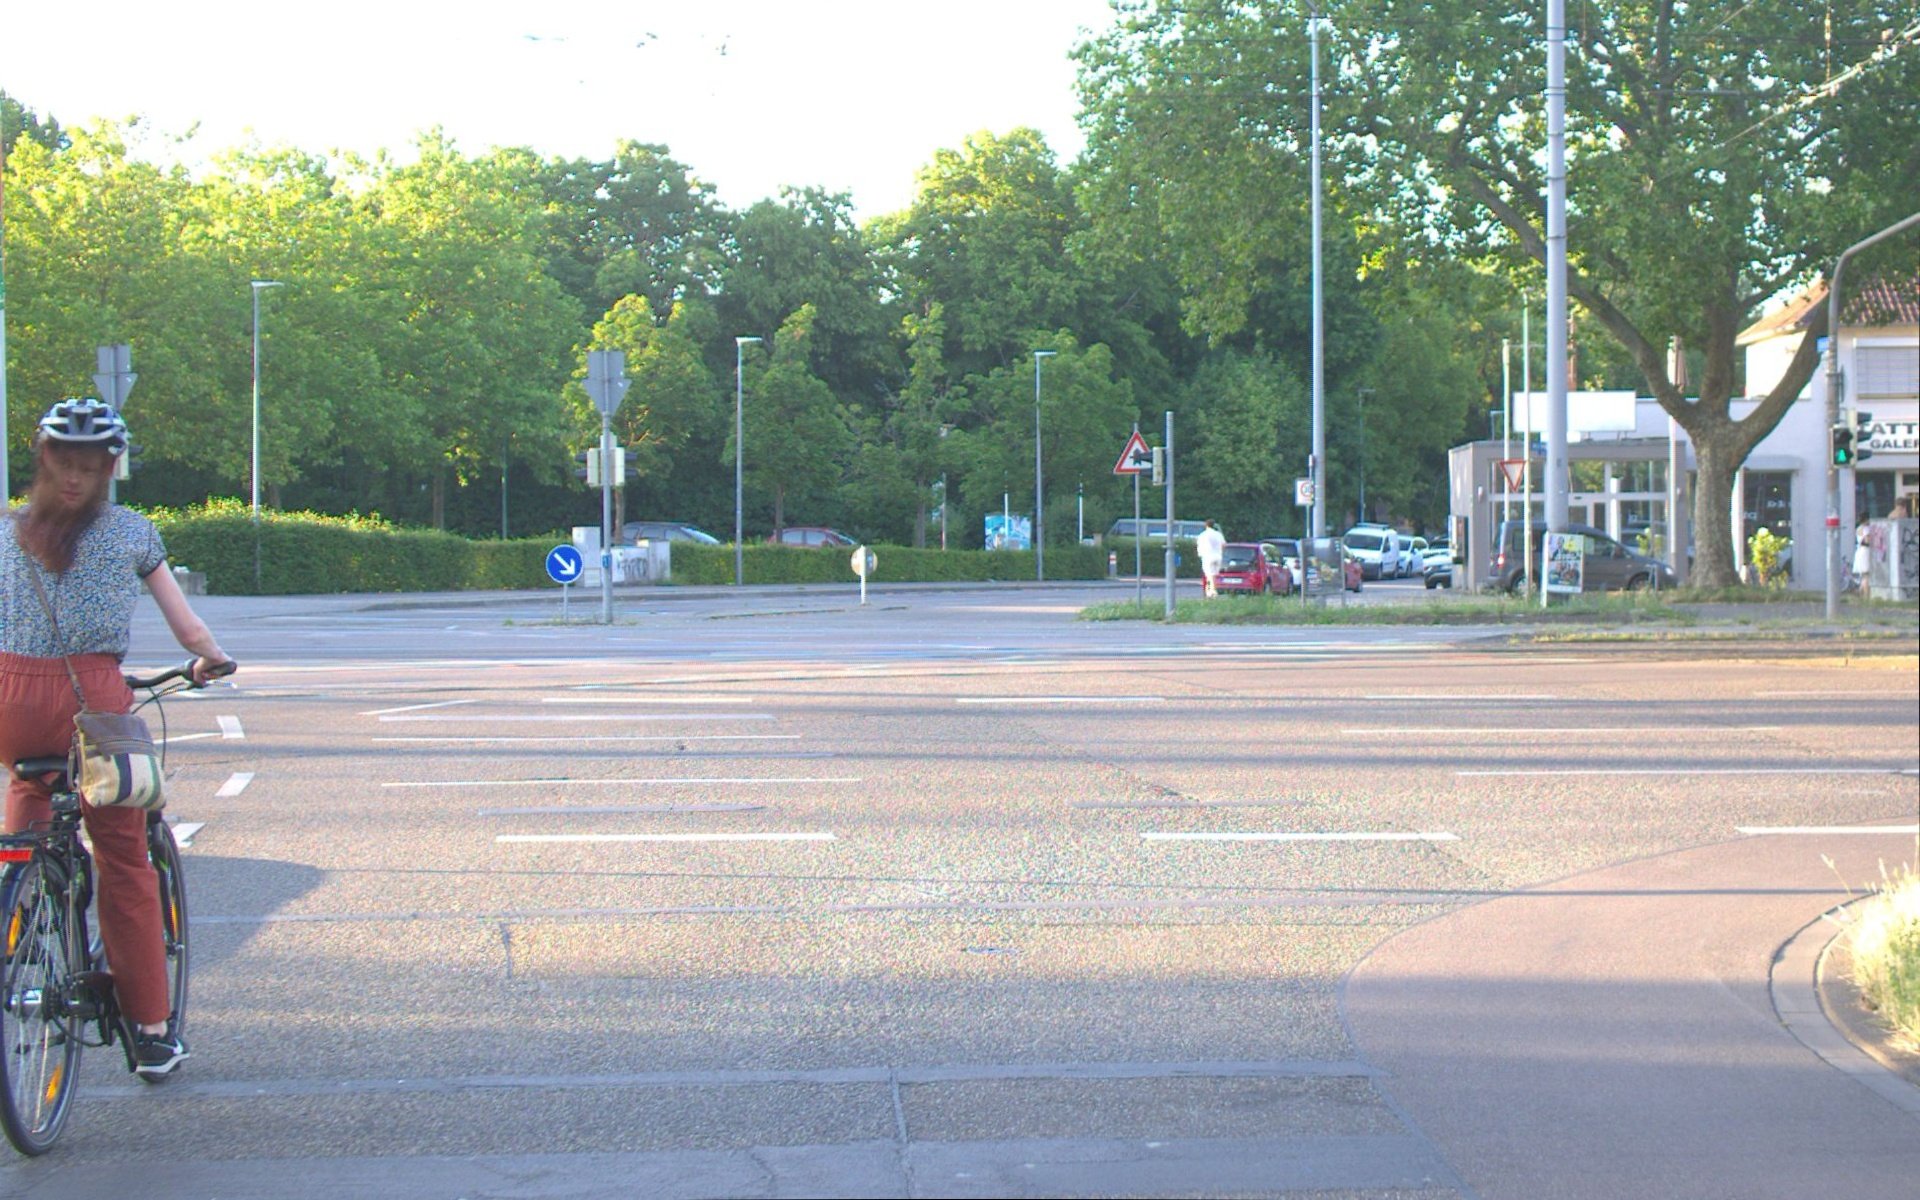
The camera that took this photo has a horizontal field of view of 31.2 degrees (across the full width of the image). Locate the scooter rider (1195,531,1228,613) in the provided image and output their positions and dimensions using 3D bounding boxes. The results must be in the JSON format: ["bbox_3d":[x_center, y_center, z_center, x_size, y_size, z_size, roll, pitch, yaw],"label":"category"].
[{"bbox_3d":[5.707,-0.636,78.022,0.702,1.848,0.669,0,0,-2],"label":"scooter rider"}]

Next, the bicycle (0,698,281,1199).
[{"bbox_3d":[-2.178,0.826,8.495,0.634,1.064,2.122,0,1,-2],"label":"bicycle"}]

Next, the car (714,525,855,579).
[{"bbox_3d":[-5.102,-1.400,100.357,3.987,1.555,2.000,0,1,0],"label":"car"}]

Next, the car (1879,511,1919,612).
[{"bbox_3d":[19.405,-0.719,63.710,4.230,1.840,2.000,0,1,1],"label":"car"}]

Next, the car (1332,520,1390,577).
[{"bbox_3d":[14.256,-1.851,122.336,1.994,2.007,3.999,0,1,6],"label":"car"}]

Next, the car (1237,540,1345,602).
[{"bbox_3d":[8.743,-0.771,90.563,1.995,1.568,3.997,0,1,18],"label":"car"}]

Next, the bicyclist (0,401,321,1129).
[{"bbox_3d":[-2.194,0.380,8.576,1.031,1.712,0.996,0,1,-2],"label":"bicyclist"}]

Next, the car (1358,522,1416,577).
[{"bbox_3d":[15.744,-1.879,126.939,1.994,2.007,3.999,0,1,6],"label":"car"}]

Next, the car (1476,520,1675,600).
[{"bbox_3d":[14.314,-0.944,80.117,4.377,1.828,1.949,0,1,4],"label":"car"}]

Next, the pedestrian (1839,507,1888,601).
[{"bbox_3d":[15.869,-0.810,60.387,0.719,1.633,0.896,0,1,23],"label":"pedestrian"}]

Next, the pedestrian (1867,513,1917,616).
[{"bbox_3d":[16.007,-0.616,59.022,0.719,1.748,0.896,0,1,23],"label":"pedestrian"}]

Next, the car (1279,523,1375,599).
[{"bbox_3d":[10.099,-1.091,94.400,1.916,2.040,3.997,0,1,16],"label":"car"}]

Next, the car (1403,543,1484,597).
[{"bbox_3d":[14.987,-0.946,106.382,1.916,1.597,3.997,0,1,16],"label":"car"}]

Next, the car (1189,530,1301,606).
[{"bbox_3d":[7.215,-0.835,86.738,1.870,1.868,3.871,0,1,20],"label":"car"}]

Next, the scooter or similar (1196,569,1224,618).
[{"bbox_3d":[5.677,-0.142,78.010,0.510,1.086,1.243,0,1,-2],"label":"scooter or similar"}]
